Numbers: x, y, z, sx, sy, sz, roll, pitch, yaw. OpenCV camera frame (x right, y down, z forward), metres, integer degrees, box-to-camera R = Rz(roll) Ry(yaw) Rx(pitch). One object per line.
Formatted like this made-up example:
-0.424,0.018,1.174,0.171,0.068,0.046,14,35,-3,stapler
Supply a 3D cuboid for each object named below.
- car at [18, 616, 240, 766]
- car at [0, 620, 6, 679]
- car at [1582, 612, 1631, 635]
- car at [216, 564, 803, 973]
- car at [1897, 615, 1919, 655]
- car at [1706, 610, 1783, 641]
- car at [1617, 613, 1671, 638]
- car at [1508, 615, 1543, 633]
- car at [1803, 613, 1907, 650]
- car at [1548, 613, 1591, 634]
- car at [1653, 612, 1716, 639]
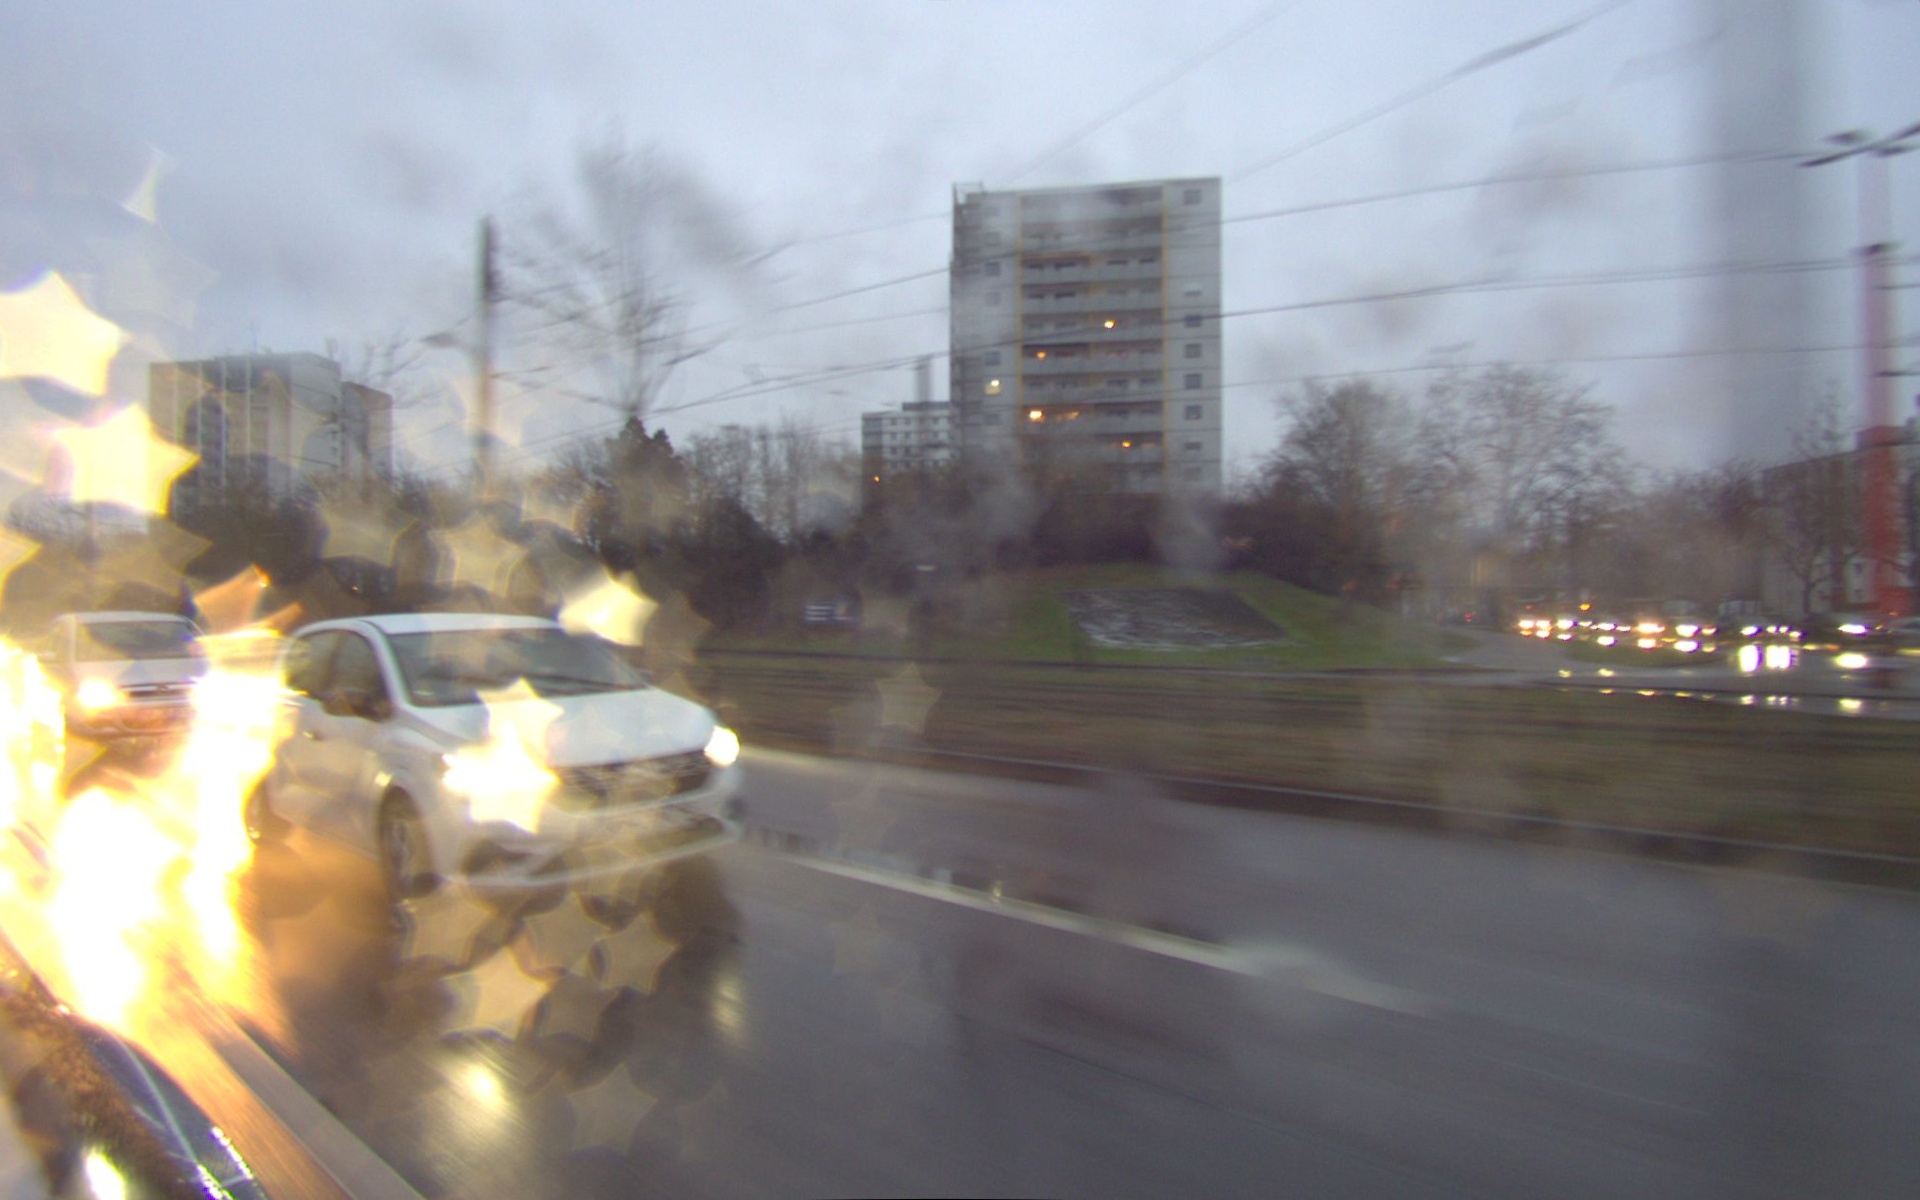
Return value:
-10.620,1.016,12.821,4.191,1.551,1.671,-1,0,44,car
-28.619,1.399,28.625,4.121,1.612,1.928,-1,-2,40,car
45.915,1.660,72.004,1.696,1.556,3.963,-1,-2,14,car
-2.944,0.729,6.142,4.145,1.660,1.696,-1,-2,42,car
37.976,1.330,38.479,1.696,1.556,3.982,-1,-2,14,car
41.623,1.365,53.791,1.696,1.556,3.982,-1,-2,14,car
44.654,1.672,66.159,1.696,1.556,3.808,-1,-2,14,car
49.795,2.114,89.183,1.696,1.556,3.963,-1,-2,14,car
39.403,1.367,44.679,1.696,1.556,3.982,-1,-2,14,car
47.465,1.852,78.888,1.696,1.556,3.963,-1,-2,14,car
43.298,1.526,60.578,1.696,1.556,3.982,-1,-2,14,car
